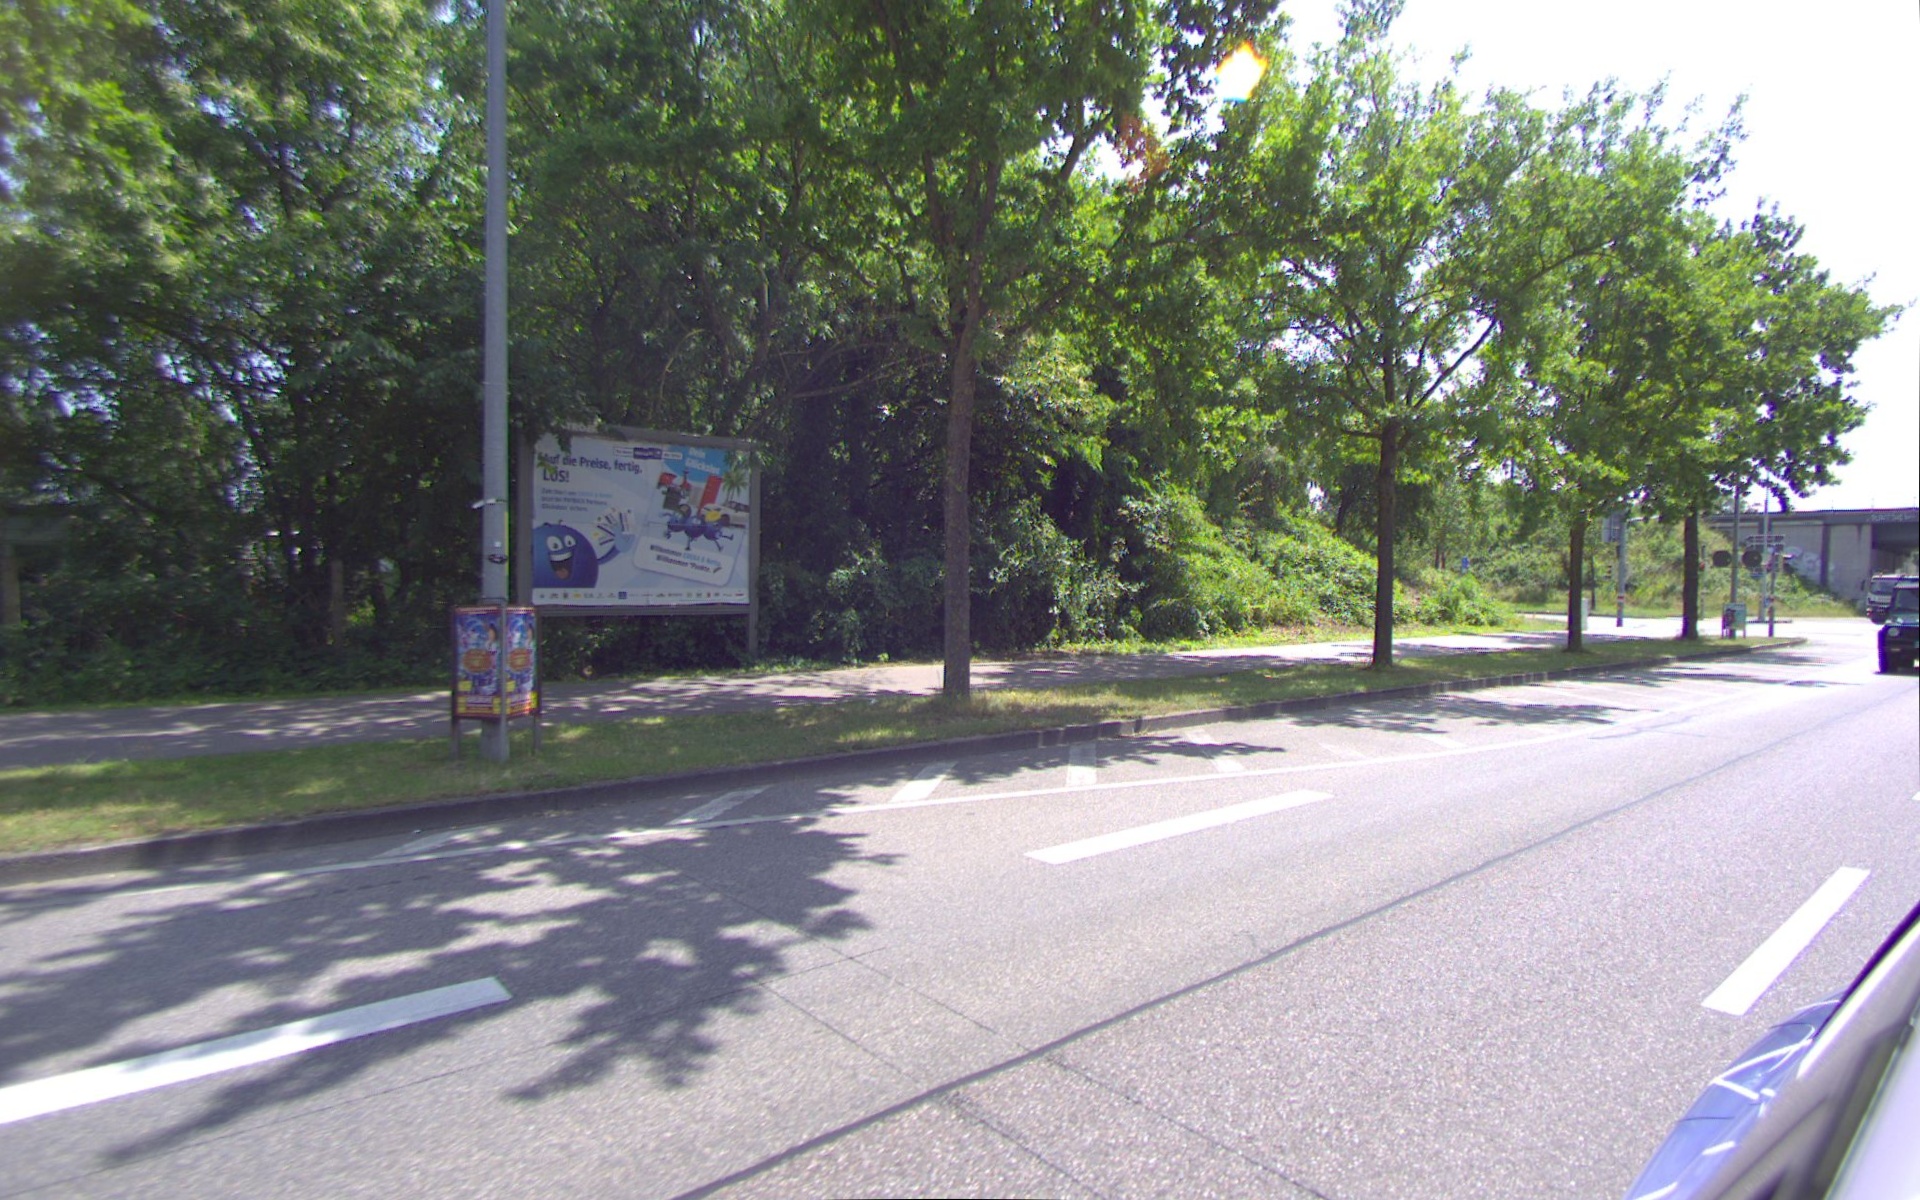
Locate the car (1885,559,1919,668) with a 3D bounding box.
[{"bbox_3d":[21.316,0.259,21.560,4.478,2.180,1.840,-1,2,-41],"label":"car"}]

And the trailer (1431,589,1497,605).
[{"bbox_3d":[35.263,-0.227,70.886,1.652,0.954,3.828,0,2,-41],"label":"trailer"}]

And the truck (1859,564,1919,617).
[{"bbox_3d":[56.527,-0.543,58.136,8.339,2.952,2.893,0,0,-12],"label":"truck"}]
